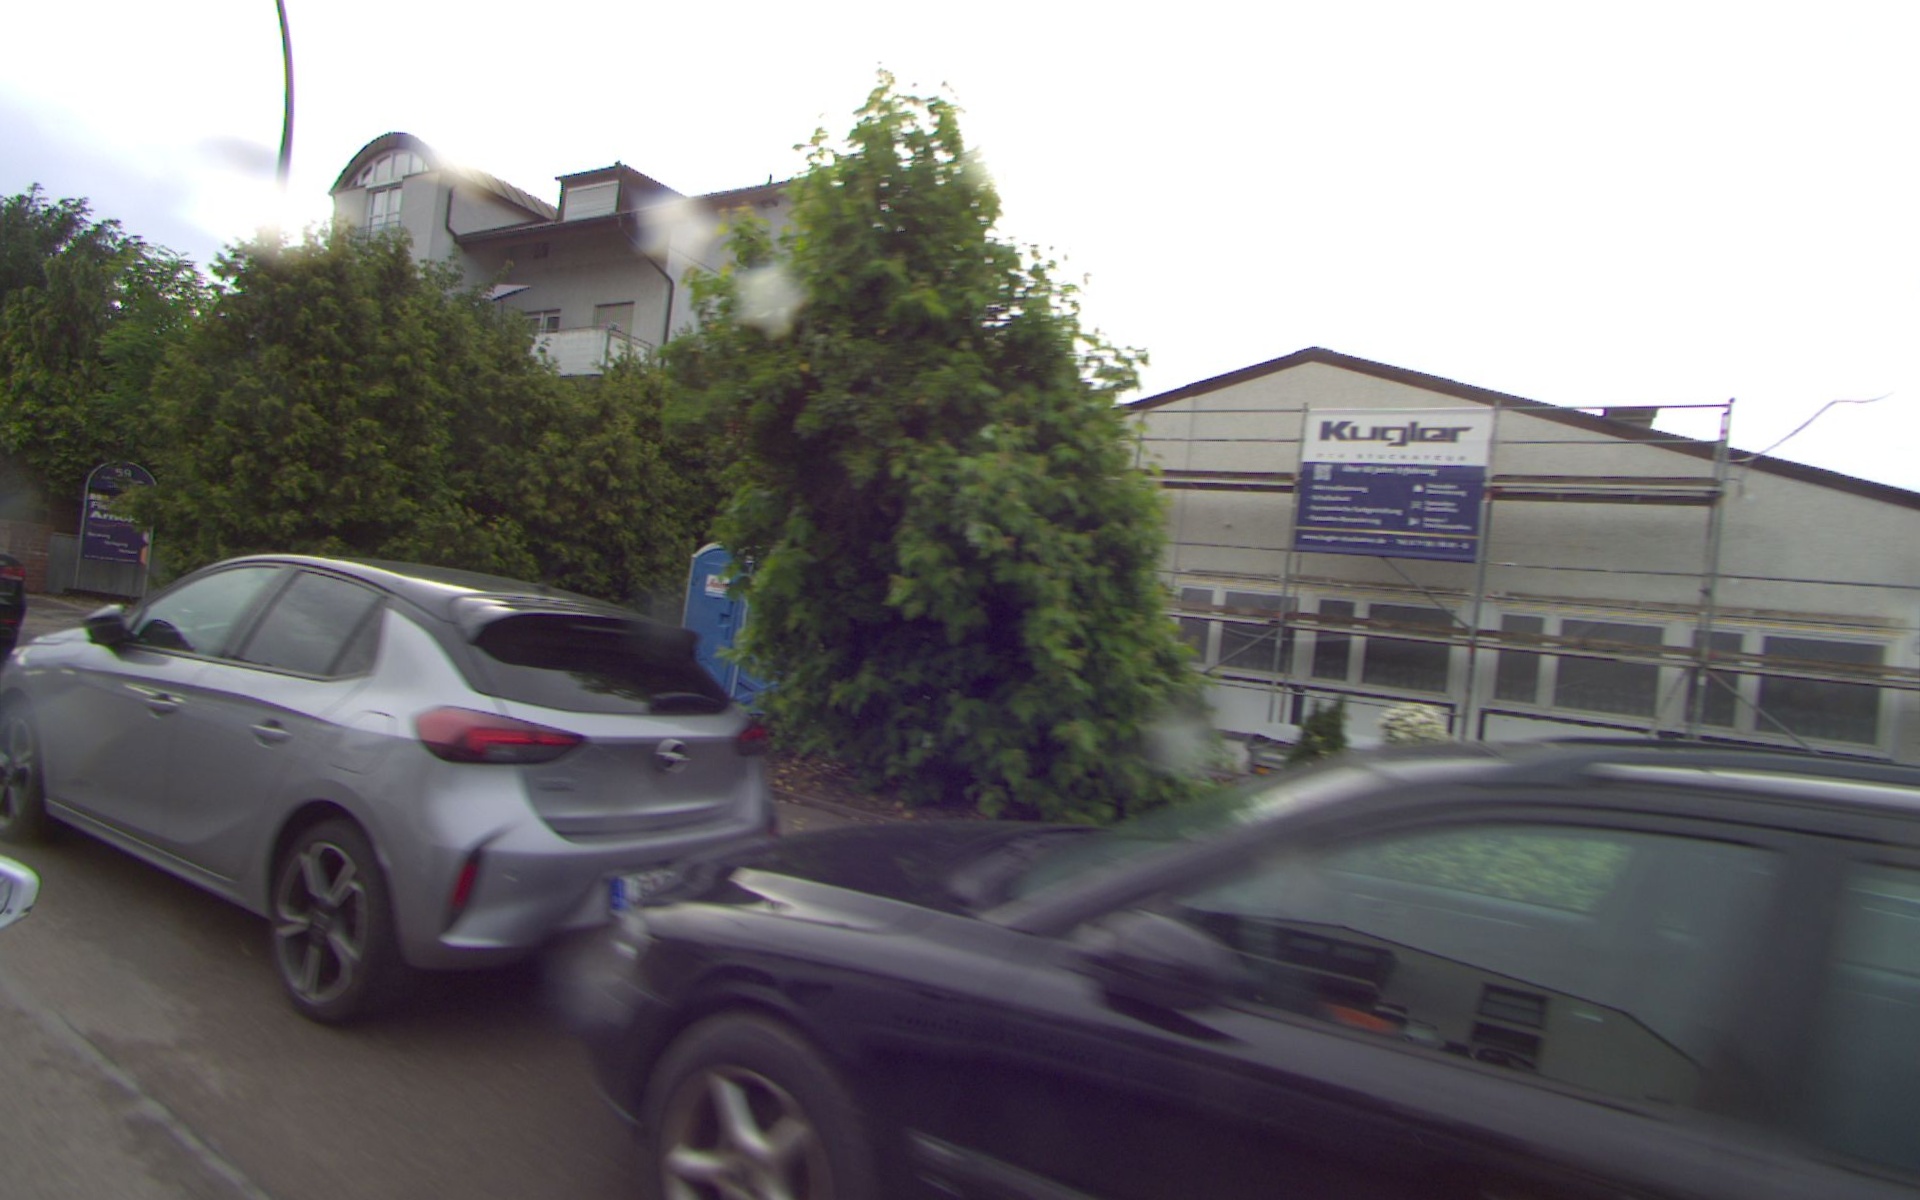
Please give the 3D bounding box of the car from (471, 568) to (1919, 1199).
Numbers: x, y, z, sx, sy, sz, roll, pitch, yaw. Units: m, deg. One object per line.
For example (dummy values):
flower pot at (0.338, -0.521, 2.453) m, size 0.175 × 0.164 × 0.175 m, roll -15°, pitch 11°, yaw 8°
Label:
car at (1.208, 0.946, 2.097) m, size 4.408 × 1.457 × 1.765 m, roll 7°, pitch -1°, yaw 31°

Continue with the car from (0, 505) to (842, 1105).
car at (-2.692, 0.525, 4.478) m, size 3.974 × 1.457 × 1.655 m, roll 7°, pitch 0°, yaw 30°

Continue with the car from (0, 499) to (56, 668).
car at (-10.242, -0.393, 9.227) m, size 4.042 × 1.435 × 1.754 m, roll 7°, pitch -1°, yaw 32°
